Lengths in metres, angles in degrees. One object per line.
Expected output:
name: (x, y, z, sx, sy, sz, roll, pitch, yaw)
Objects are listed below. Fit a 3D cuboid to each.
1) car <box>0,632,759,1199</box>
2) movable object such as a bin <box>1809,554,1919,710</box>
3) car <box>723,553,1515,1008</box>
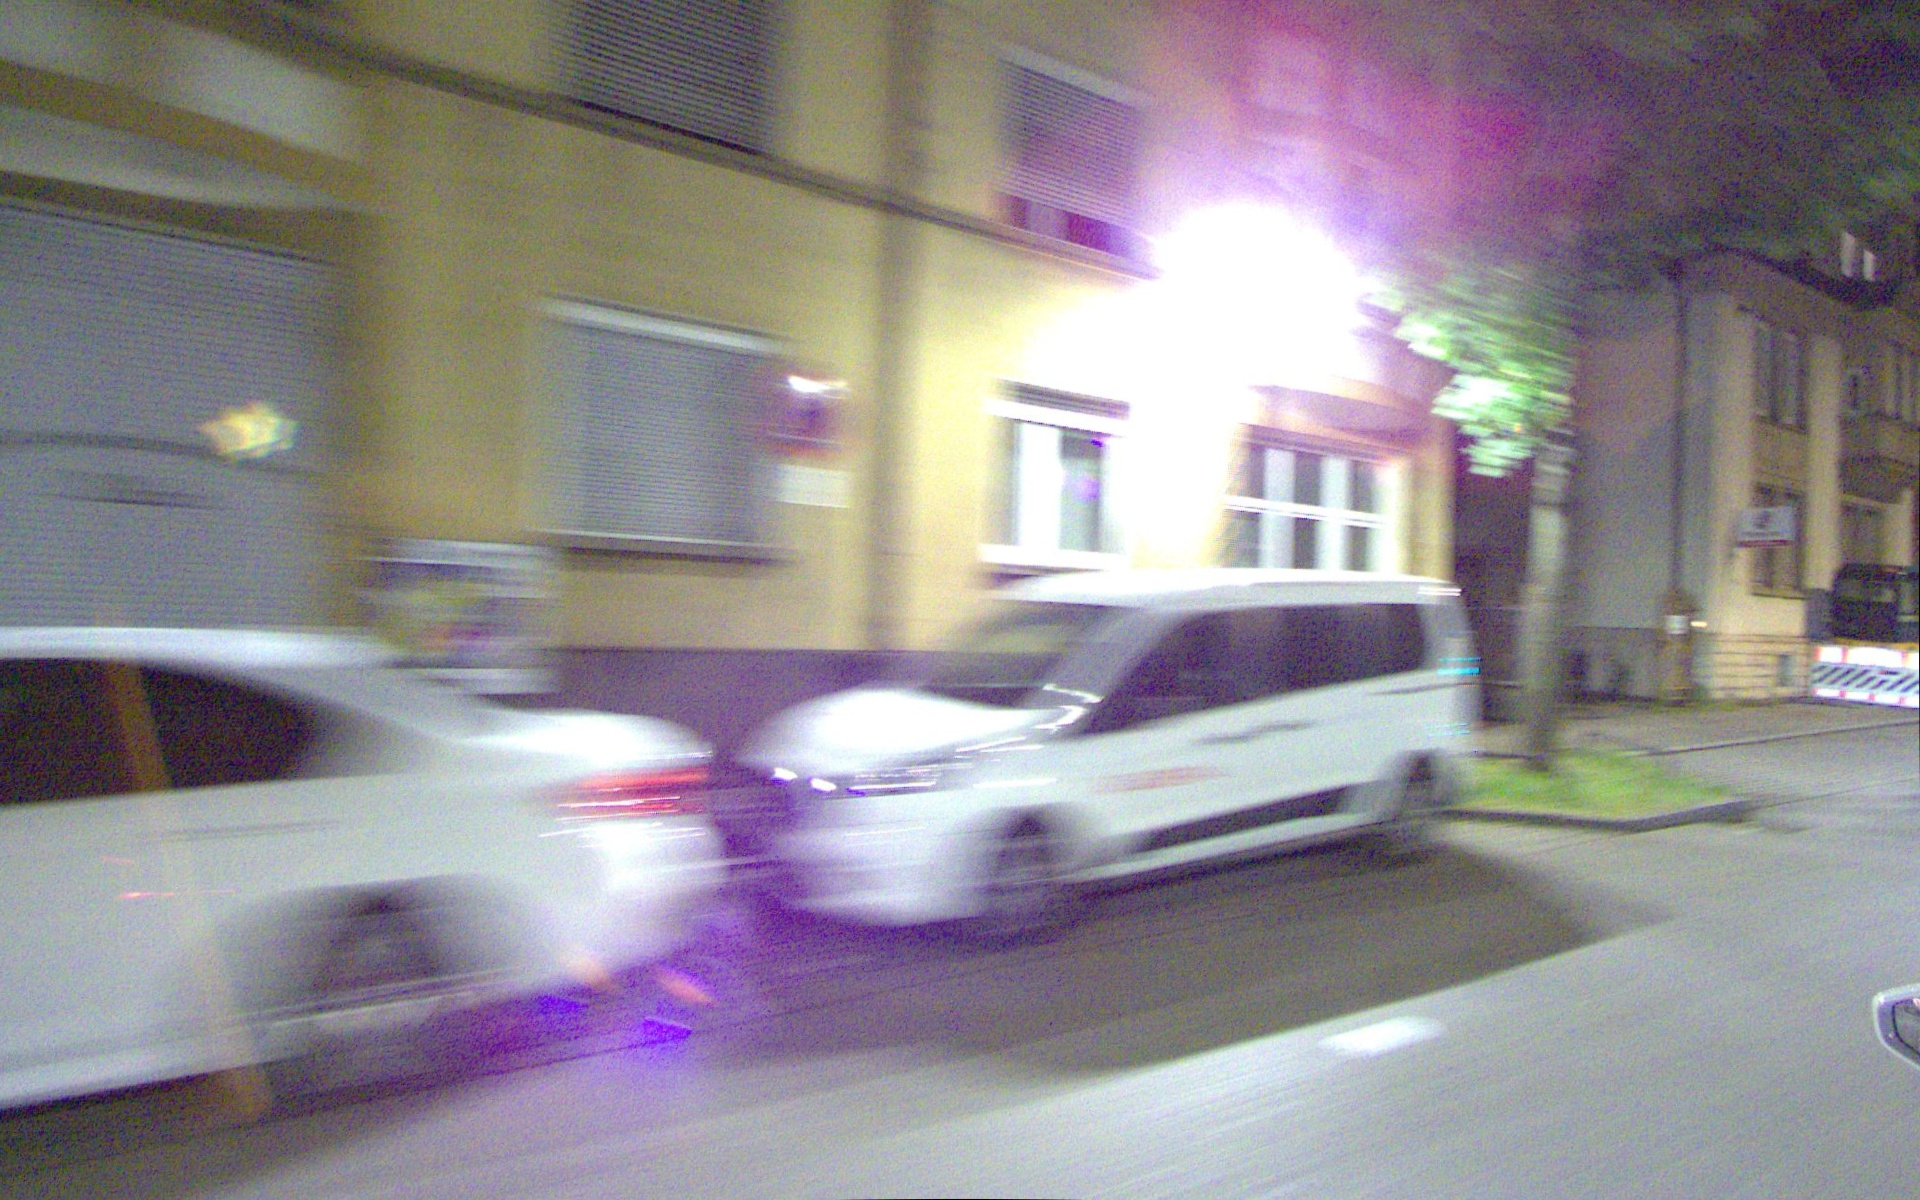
car: (-3.276, 0.877, 3.240, 4.824, 1.469, 1.830, 2, 0, -30)
movable object such as a bin: (17.757, 0.596, 18.885, 3.864, 2.661, 1.564, 1, -1, -30)
car: (1.165, 0.779, 6.189, 4.761, 1.868, 1.872, 1, 0, -32)
